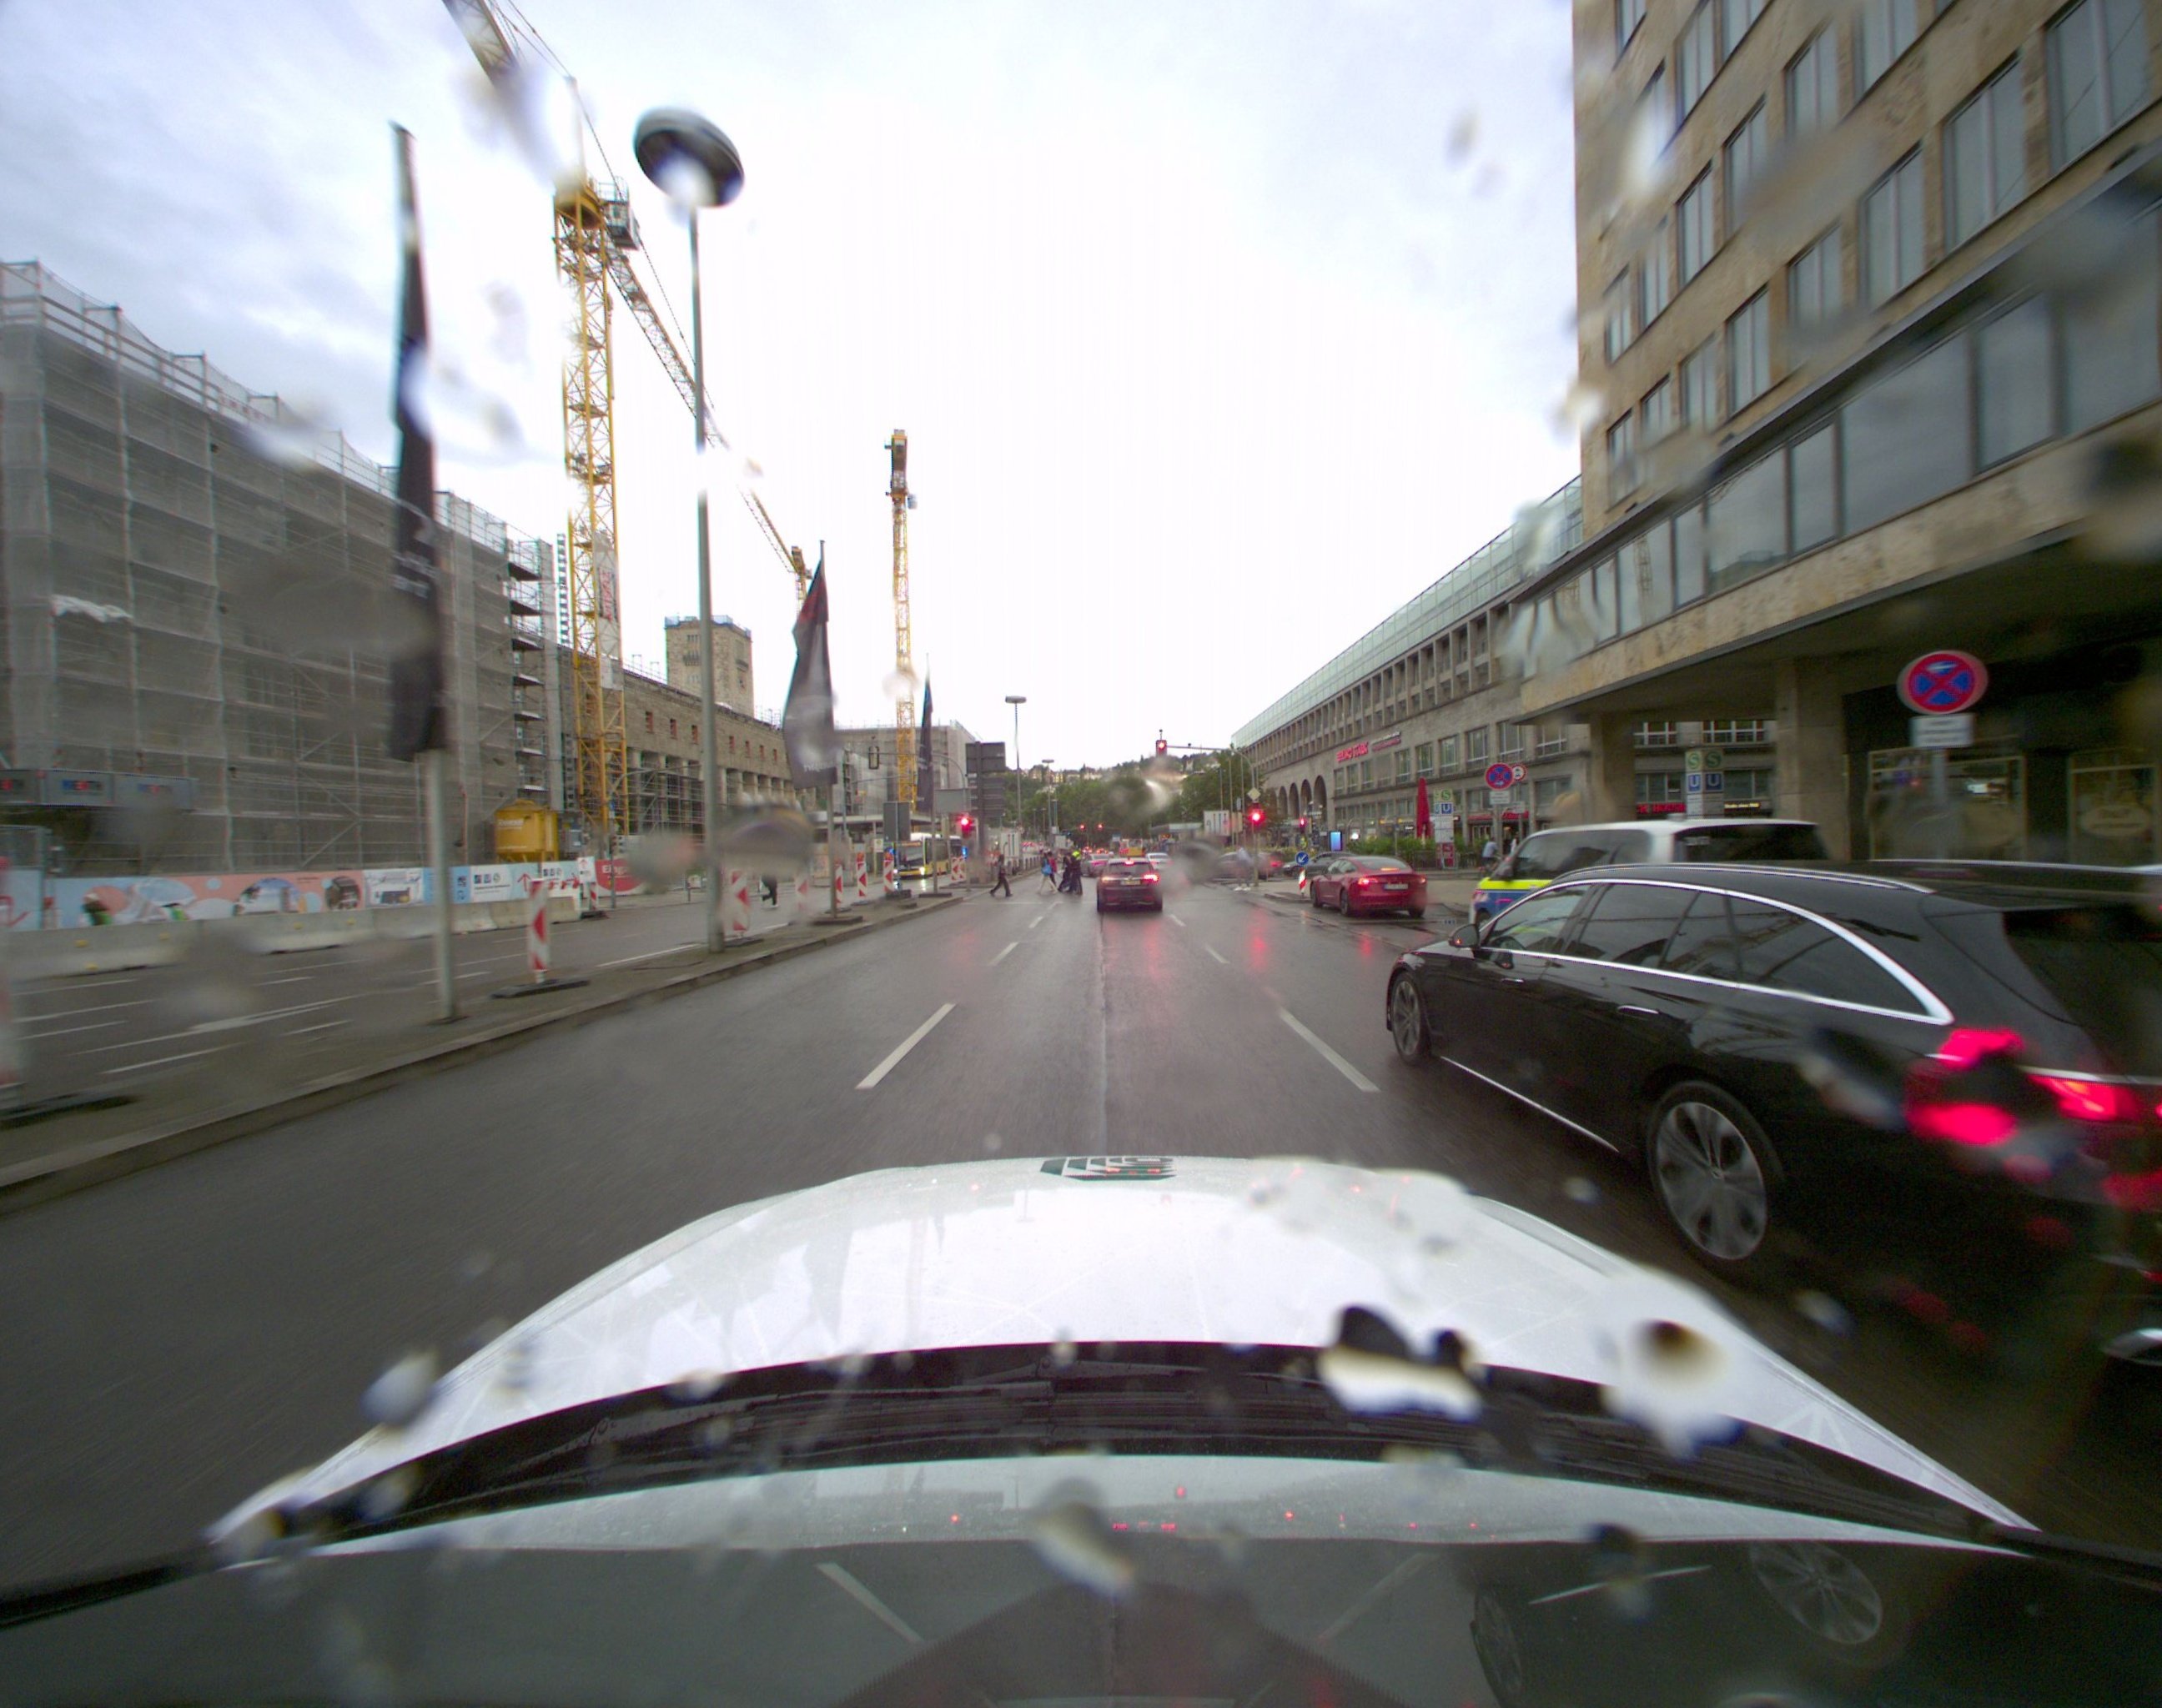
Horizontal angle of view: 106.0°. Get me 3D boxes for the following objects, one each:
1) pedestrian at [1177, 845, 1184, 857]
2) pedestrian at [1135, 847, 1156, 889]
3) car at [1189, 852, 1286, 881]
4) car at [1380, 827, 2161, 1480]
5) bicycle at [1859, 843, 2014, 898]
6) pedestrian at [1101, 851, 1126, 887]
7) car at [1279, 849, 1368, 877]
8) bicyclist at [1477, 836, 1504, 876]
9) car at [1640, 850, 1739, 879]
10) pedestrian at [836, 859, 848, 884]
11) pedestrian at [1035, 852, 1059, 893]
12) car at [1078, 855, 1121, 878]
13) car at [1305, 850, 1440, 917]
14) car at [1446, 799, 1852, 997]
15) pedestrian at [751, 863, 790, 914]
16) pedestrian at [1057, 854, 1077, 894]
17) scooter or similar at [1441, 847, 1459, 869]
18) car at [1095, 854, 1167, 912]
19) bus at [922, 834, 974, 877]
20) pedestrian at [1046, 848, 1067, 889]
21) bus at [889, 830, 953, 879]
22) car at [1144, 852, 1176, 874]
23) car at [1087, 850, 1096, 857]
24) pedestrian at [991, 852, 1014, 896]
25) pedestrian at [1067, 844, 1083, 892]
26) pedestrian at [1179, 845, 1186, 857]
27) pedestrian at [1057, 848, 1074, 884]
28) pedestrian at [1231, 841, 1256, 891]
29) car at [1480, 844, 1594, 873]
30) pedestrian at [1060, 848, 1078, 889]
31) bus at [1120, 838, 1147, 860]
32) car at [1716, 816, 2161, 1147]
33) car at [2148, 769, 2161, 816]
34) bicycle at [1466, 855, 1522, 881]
[{"bbox_3d":[13.559,-0.393,110.659,0.761,1.690,0.824,0,-1,-2],"label":"pedestrian"},{"bbox_3d":[2.733,0.599,34.302,0.563,1.752,0.684,-1,-1,45],"label":"pedestrian"},{"bbox_3d":[7.907,0.639,41.251,4.480,1.398,1.769,-1,-1,28],"label":"car"},{"bbox_3d":[3.165,0.703,4.173,1.786,1.501,4.632,0,0,3],"label":"car"},{"bbox_3d":[17.449,0.330,16.727,0.653,1.046,2.473,0,-1,2],"label":"bicycle"},{"bbox_3d":[1.413,0.655,35.387,0.777,1.561,0.880,-1,-1,27],"label":"pedestrian"},{"bbox_3d":[12.631,0.473,42.590,4.356,1.398,1.765,-1,-1,14],"label":"car"},{"bbox_3d":[16.192,0.081,32.184,0.717,1.540,0.609,0,-1,-17],"label":"bicyclist"},{"bbox_3d":[30.807,0.537,41.291,3.640,1.398,1.853,0,-1,2],"label":"car"},{"bbox_3d":[-18.420,1.328,62.816,0.659,1.855,0.799,-2,0,2],"label":"pedestrian"},{"bbox_3d":[-1.318,0.717,32.026,0.912,1.563,0.899,0,-1,-2],"label":"pedestrian"},{"bbox_3d":[1.105,0.769,51.092,1.754,1.398,4.519,0,-1,-12],"label":"car"},{"bbox_3d":[7.080,0.675,20.321,1.867,1.486,4.528,0,0,2],"label":"car"},{"bbox_3d":[6.658,0.448,10.438,1.867,1.920,4.937,0,-1,2],"label":"car"},{"bbox_3d":[-11.306,1.238,29.657,1.093,1.751,0.653,-3,-1,-1],"label":"pedestrian"},{"bbox_3d":[-0.555,0.808,32.838,0.796,1.608,0.620,0,-1,-2],"label":"pedestrian"},{"bbox_3d":[20.207,0.214,44.567,0.290,1.189,1.014,0,-1,-16],"label":"scooter or similar"},{"bbox_3d":[1.364,0.771,23.306,1.867,1.486,4.001,0,-1,2],"label":"car"},{"bbox_3d":[-12.055,0.165,74.704,2.658,3.602,10.217,0,-1,2],"label":"bus"},{"bbox_3d":[-1.060,0.607,34.877,0.797,1.717,0.620,-3,-1,-2],"label":"pedestrian"},{"bbox_3d":[-12.456,0.086,64.521,2.658,3.602,10.244,0,-1,2],"label":"bus"},{"bbox_3d":[5.126,0.598,53.262,1.838,1.398,3.566,0,-1,2],"label":"car"},{"bbox_3d":[2.029,-0.120,160.328,1.752,1.398,3.566,0,-1,2],"label":"car"},{"bbox_3d":[-2.953,0.763,30.729,0.791,1.626,0.899,0,-1,-1],"label":"pedestrian"},{"bbox_3d":[-0.223,0.531,31.334,0.576,1.836,0.820,0,-1,2],"label":"pedestrian"},{"bbox_3d":[13.663,-0.409,109.558,0.761,1.690,0.824,0,-1,-2],"label":"pedestrian"},{"bbox_3d":[-0.635,0.493,33.365,0.677,1.474,0.366,0,-1,-3],"label":"pedestrian"},{"bbox_3d":[6.310,0.461,31.728,0.798,1.890,0.618,0,-1,-7],"label":"pedestrian"},{"bbox_3d":[22.358,0.220,40.075,4.613,1.398,1.761,0,-1,4],"label":"car"},{"bbox_3d":[-0.500,0.595,33.852,0.753,1.717,0.466,0,-1,-2],"label":"pedestrian"},{"bbox_3d":[8.704,-0.751,136.471,4.157,3.469,14.661,0,0,2],"label":"bus"},{"bbox_3d":[6.275,0.625,4.420,1.867,1.637,5.013,0,0,2],"label":"car"},{"bbox_3d":[47.464,-2.639,33.477,4.615,1.971,1.999,-2,0,-1],"label":"car"},{"bbox_3d":[16.341,0.559,32.224,2.213,1.009,0.589,0,-1,-18],"label":"bicycle"}]
